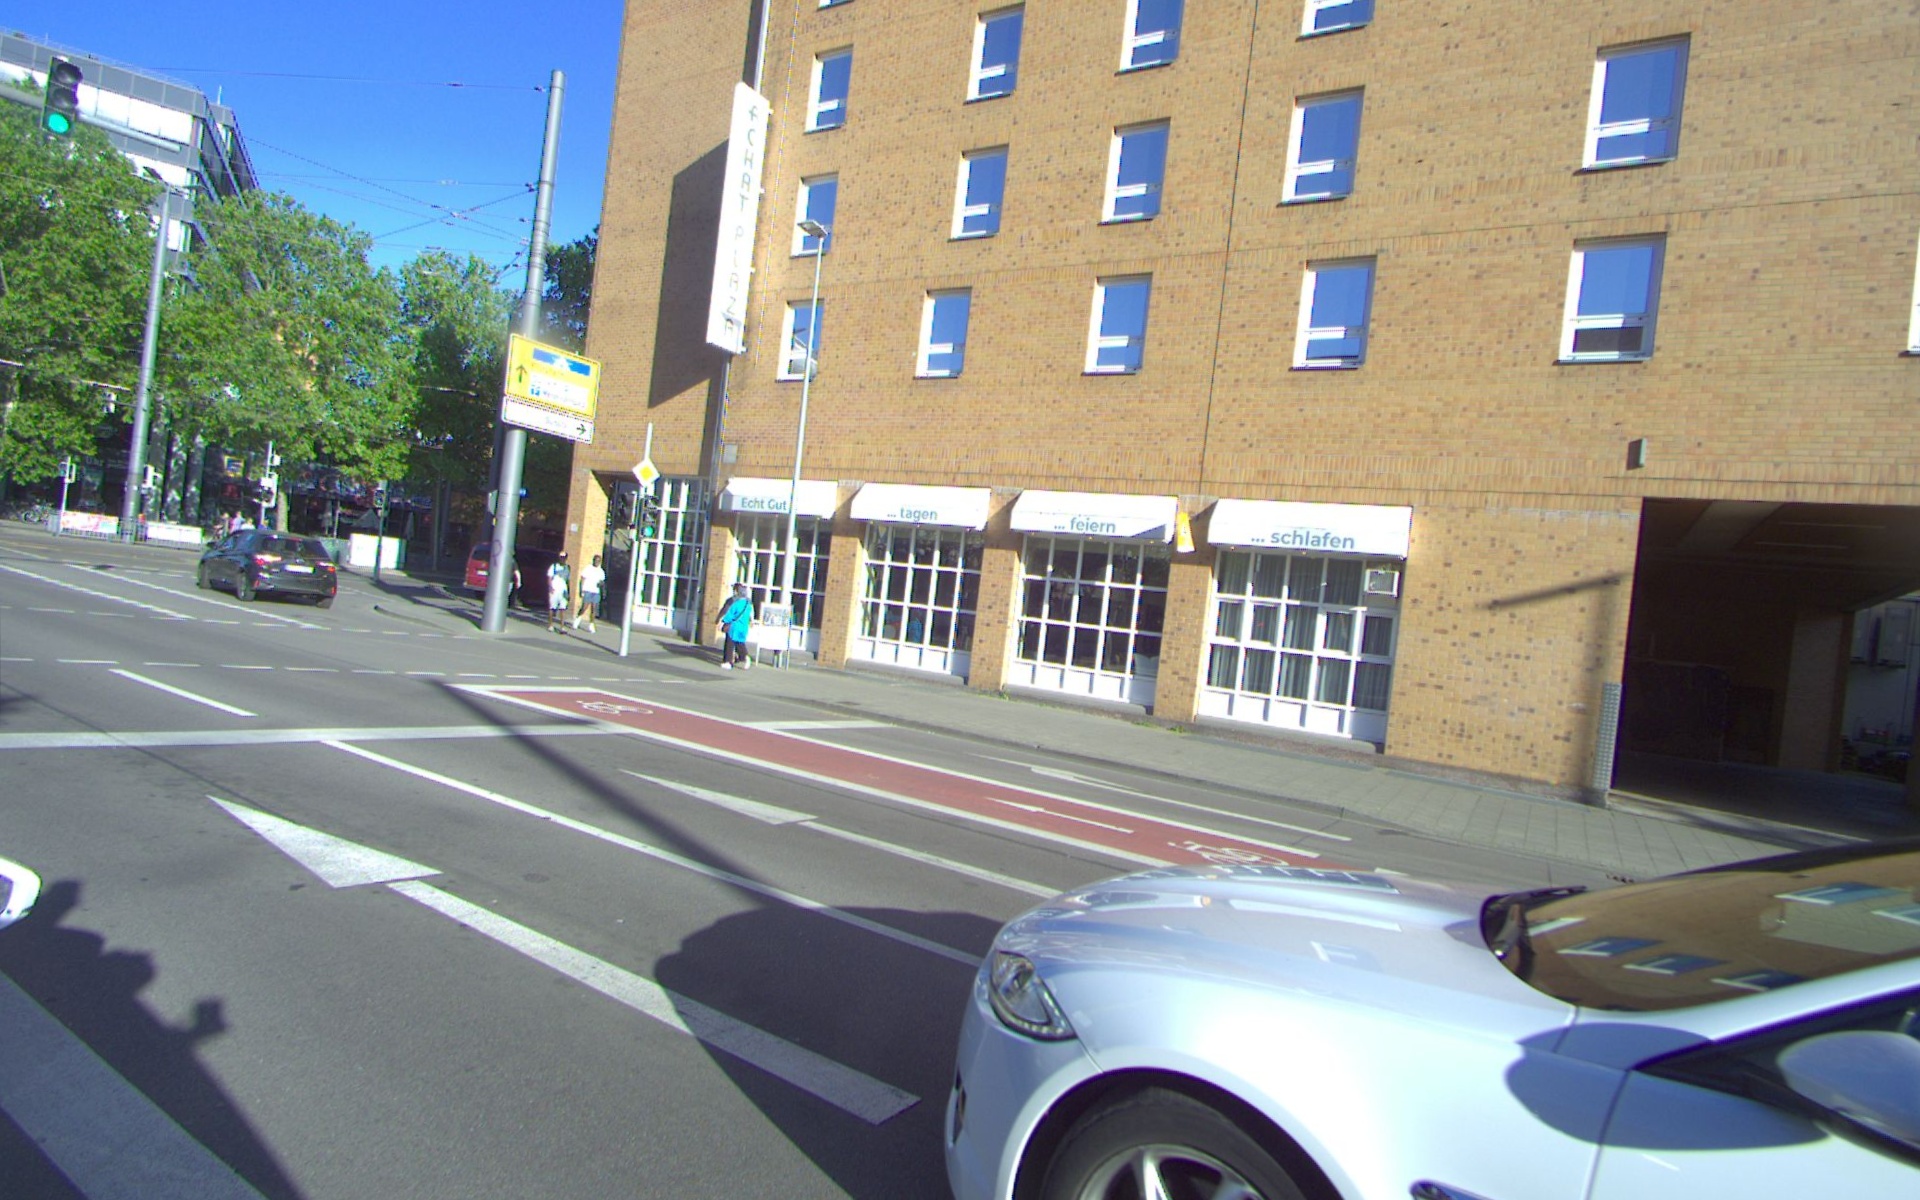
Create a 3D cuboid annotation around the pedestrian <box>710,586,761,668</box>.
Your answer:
[{"bbox_3d":[-4.253,0.507,19.075,0.591,1.472,0.592,6,3,32],"label":"pedestrian"}]

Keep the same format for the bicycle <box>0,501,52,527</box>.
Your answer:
[{"bbox_3d":[-48.745,-4.483,52.532,0.354,1.058,1.885,7,-2,31],"label":"bicycle"}]

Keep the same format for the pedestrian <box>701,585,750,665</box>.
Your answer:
[{"bbox_3d":[-4.599,0.500,19.733,0.543,1.495,0.593,6,0,32],"label":"pedestrian"}]

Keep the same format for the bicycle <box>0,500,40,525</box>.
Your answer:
[{"bbox_3d":[-50.148,-4.645,53.334,0.354,1.058,1.885,7,-2,31],"label":"bicycle"}]

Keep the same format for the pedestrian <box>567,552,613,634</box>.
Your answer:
[{"bbox_3d":[-8.526,-0.172,23.172,0.673,1.802,0.591,6,1,43],"label":"pedestrian"}]

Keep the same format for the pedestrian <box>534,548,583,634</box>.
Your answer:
[{"bbox_3d":[-8.905,-0.199,22.304,0.669,1.804,0.593,7,3,21],"label":"pedestrian"}]

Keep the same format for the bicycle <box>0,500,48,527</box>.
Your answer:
[{"bbox_3d":[-49.185,-4.536,52.750,0.354,1.058,1.885,7,-2,31],"label":"bicycle"}]

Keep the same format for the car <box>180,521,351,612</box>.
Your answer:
[{"bbox_3d":[-15.309,-0.761,22.115,3.977,1.467,1.733,7,-1,35],"label":"car"}]

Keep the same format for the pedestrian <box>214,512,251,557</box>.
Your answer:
[{"bbox_3d":[-30.131,-2.709,41.671,0.747,1.724,0.834,6,-1,32],"label":"pedestrian"}]

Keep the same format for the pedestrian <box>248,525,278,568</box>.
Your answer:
[{"bbox_3d":[-26.487,-2.030,38.214,0.690,1.496,0.567,6,-1,31],"label":"pedestrian"}]

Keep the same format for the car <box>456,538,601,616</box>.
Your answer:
[{"bbox_3d":[-14.802,-0.725,34.788,1.776,2.031,4.476,7,-2,22],"label":"car"}]

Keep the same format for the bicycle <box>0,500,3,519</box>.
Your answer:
[{"bbox_3d":[-43.040,-3.814,44.241,2.872,1.383,0.726,6,-2,36],"label":"bicycle"}]

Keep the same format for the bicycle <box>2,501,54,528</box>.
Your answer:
[{"bbox_3d":[-48.375,-4.436,52.225,0.354,1.058,1.884,6,-2,31],"label":"bicycle"}]

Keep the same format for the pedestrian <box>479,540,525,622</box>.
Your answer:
[{"bbox_3d":[-10.593,-0.430,23.288,0.726,1.813,0.510,7,-1,-19],"label":"pedestrian"}]

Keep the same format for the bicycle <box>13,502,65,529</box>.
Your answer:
[{"bbox_3d":[-47.328,-4.335,51.705,0.354,1.058,1.884,6,-2,31],"label":"bicycle"}]

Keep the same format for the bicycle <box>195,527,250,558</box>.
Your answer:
[{"bbox_3d":[-36.333,-2.823,49.588,0.414,1.228,2.046,6,-2,32],"label":"bicycle"}]

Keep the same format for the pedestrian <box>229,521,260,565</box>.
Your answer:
[{"bbox_3d":[-26.763,-2.131,37.625,0.690,1.550,0.567,6,-1,29],"label":"pedestrian"}]

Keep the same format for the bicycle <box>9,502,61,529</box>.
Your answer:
[{"bbox_3d":[-47.793,-4.370,51.994,0.354,1.058,1.884,7,-2,31],"label":"bicycle"}]

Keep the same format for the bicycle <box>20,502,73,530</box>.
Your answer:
[{"bbox_3d":[-46.070,-4.239,50.754,0.354,1.058,1.884,6,-2,31],"label":"bicycle"}]

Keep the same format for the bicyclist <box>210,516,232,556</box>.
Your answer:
[{"bbox_3d":[-36.351,-3.143,49.512,0.396,1.859,0.585,6,-1,31],"label":"bicyclist"}]

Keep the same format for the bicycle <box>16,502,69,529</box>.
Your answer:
[{"bbox_3d":[-46.684,-4.286,51.225,0.354,1.058,1.884,6,-2,31],"label":"bicycle"}]

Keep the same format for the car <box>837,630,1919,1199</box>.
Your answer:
[{"bbox_3d":[2.084,1.076,1.858,4.381,1.447,1.805,7,-1,33],"label":"car"}]
